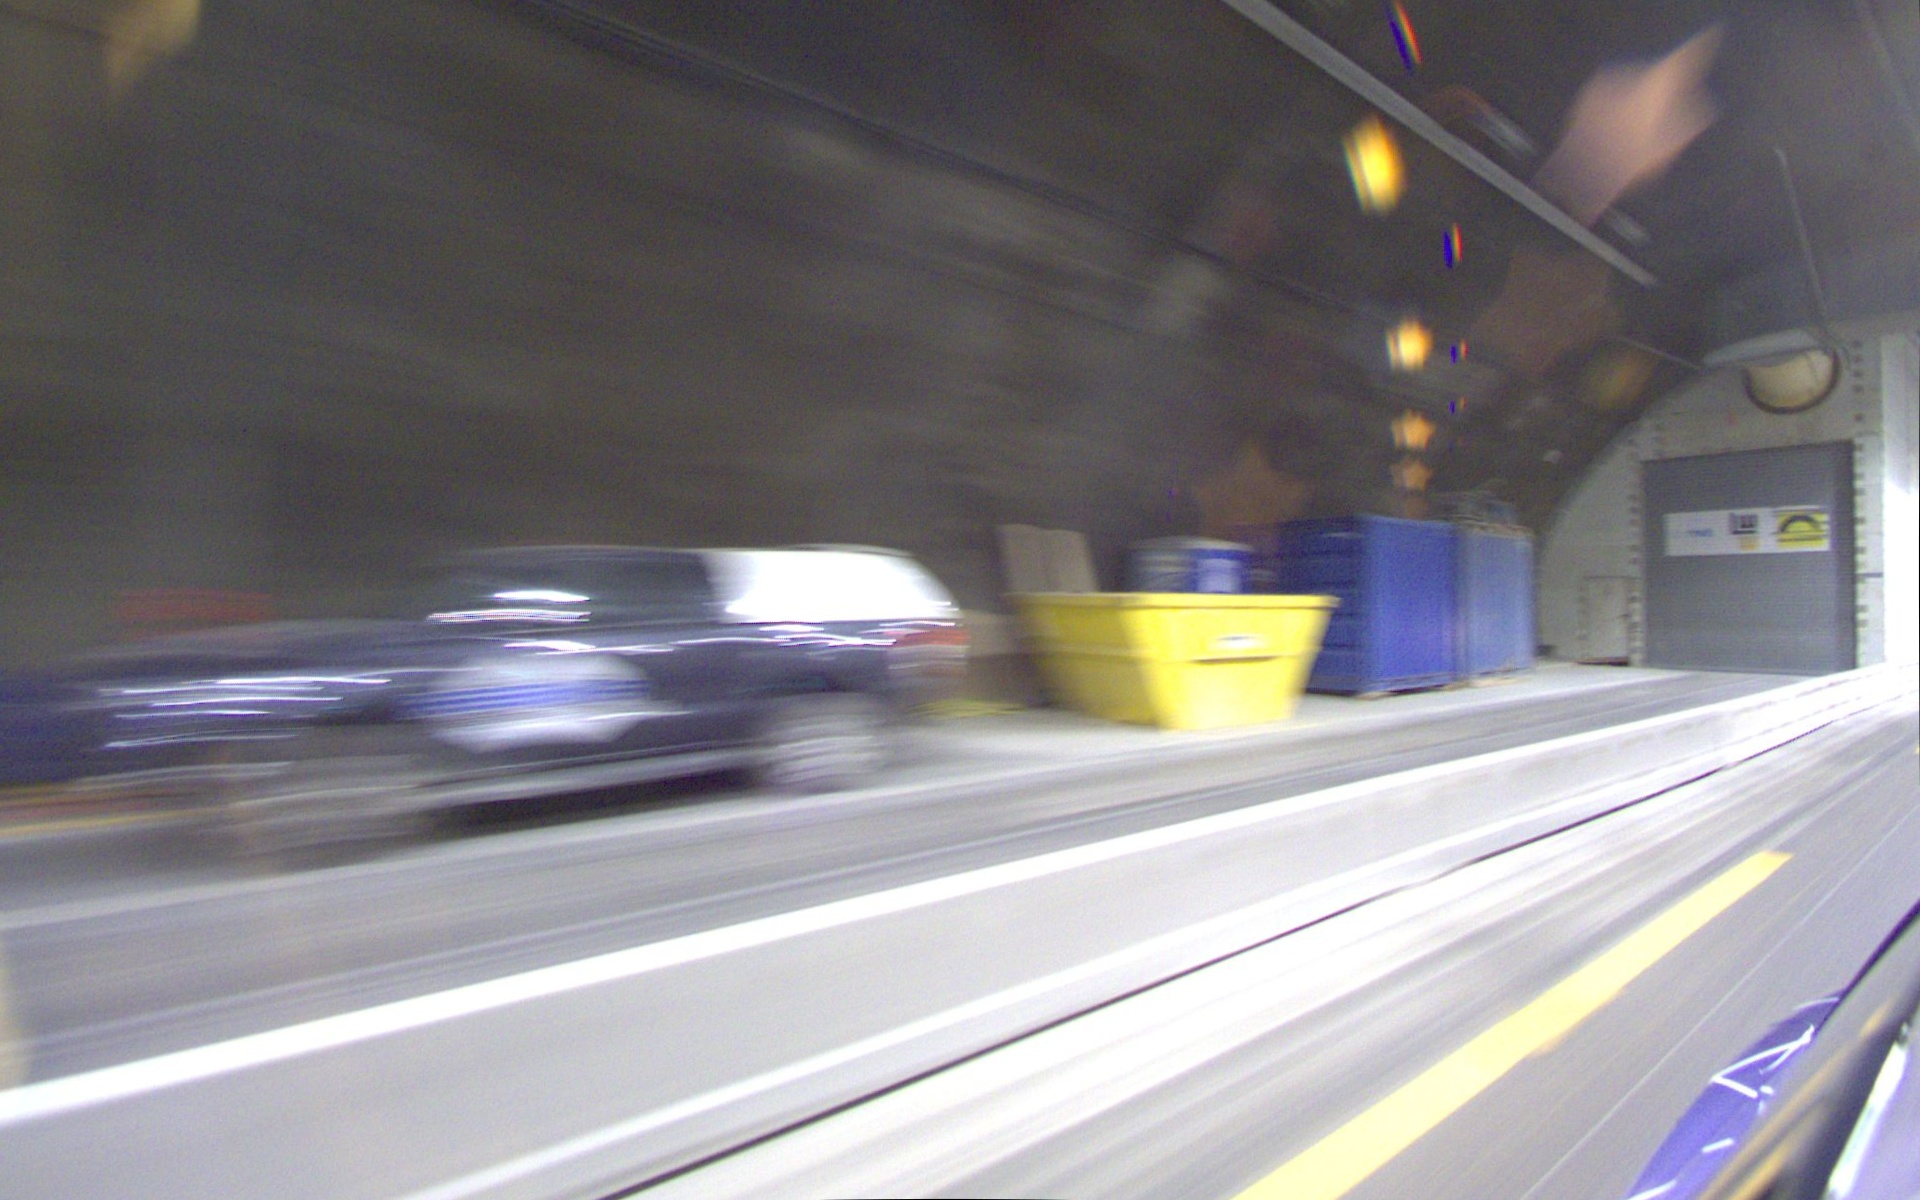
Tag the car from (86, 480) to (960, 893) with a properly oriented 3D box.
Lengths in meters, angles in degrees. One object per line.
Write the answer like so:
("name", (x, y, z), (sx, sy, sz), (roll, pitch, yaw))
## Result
("car", (-2.577, 0.402, 7.120), (5.349, 1.882, 1.830), (0, 0, -43))
